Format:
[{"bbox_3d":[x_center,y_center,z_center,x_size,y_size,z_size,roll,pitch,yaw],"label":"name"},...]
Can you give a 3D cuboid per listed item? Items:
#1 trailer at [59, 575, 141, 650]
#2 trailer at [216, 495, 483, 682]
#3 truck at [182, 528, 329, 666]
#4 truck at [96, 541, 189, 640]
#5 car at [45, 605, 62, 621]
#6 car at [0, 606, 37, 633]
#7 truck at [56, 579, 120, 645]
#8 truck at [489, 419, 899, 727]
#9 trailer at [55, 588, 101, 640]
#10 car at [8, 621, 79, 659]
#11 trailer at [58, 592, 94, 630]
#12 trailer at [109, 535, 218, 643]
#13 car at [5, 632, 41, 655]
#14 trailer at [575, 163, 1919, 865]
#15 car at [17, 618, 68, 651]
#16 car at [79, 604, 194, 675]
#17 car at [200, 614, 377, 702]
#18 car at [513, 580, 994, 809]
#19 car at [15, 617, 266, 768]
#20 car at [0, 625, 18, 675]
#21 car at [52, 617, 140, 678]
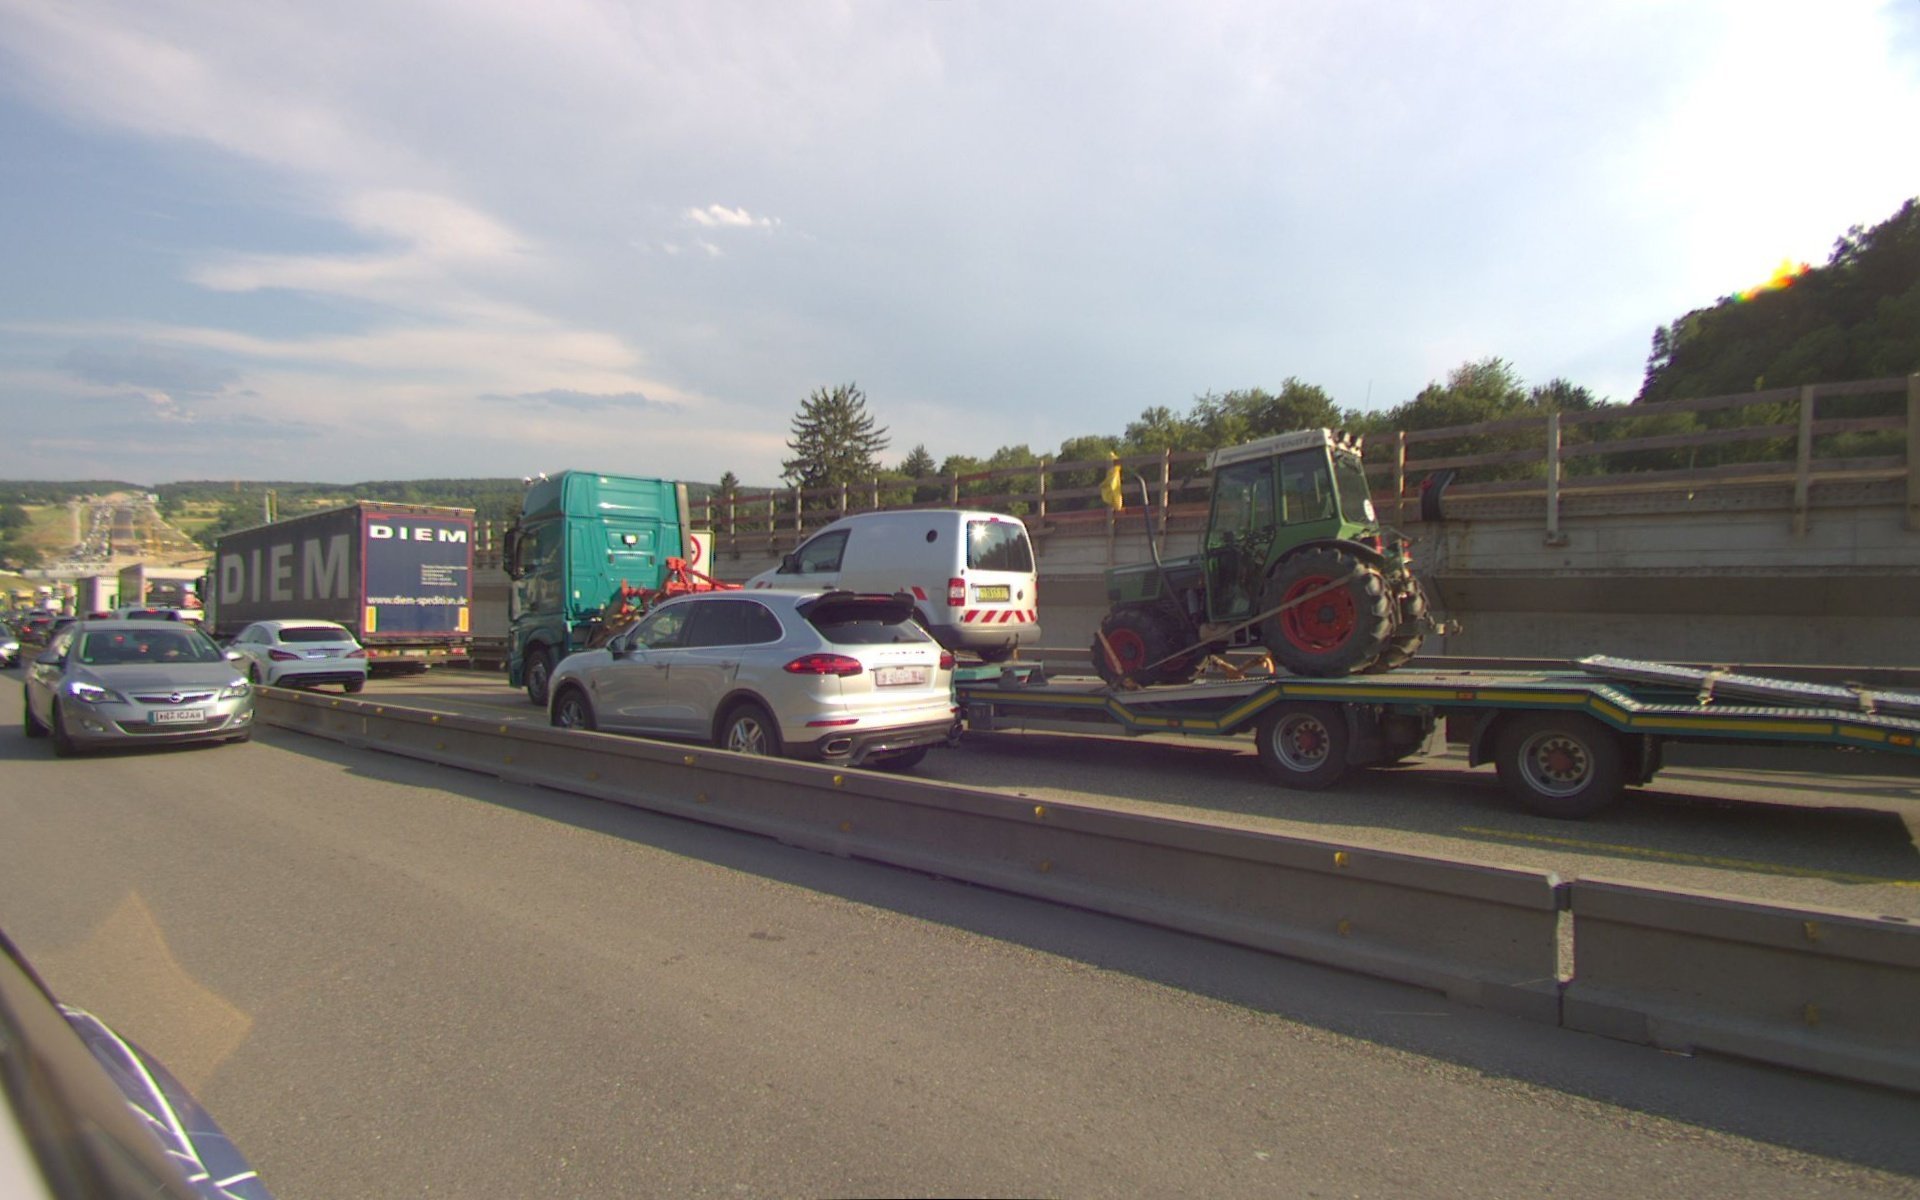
[{"bbox_3d":[-53.947,0.767,63.306,13.840,4.235,2.744,0,-1,45],"label":"trailer"},{"bbox_3d":[-17.102,-0.130,27.680,12.489,4.154,2.686,-1,-3,42],"label":"trailer"},{"bbox_3d":[-23.039,-0.024,33.027,5.028,4.146,2.720,-1,-3,41],"label":"truck"},{"bbox_3d":[-39.948,-0.420,49.422,5.028,4.548,2.887,-1,-1,44],"label":"truck"},{"bbox_3d":[-148.695,2.128,165.978,1.972,2.636,5.620,2,-2,-42],"label":"car"},{"bbox_3d":[-60.226,1.208,64.573,4.481,1.562,1.747,1,1,44],"label":"car"},{"bbox_3d":[-58.505,0.797,67.856,6.118,4.235,2.733,0,-1,45],"label":"truck"},{"bbox_3d":[-4.459,-0.258,15.973,7.109,3.834,2.720,-1,-3,41],"label":"truck"},{"bbox_3d":[-79.753,1.220,91.371,2.427,4.353,13.786,1,-1,-44],"label":"trailer"},{"bbox_3d":[-41.645,1.793,45.931,5.368,1.618,1.856,-1,-3,43],"label":"car"},{"bbox_3d":[-98.427,1.224,112.656,2.782,4.136,8.296,1,-1,-43],"label":"trailer"},{"bbox_3d":[-35.910,-0.429,45.551,7.154,4.499,2.879,-1,-1,44],"label":"trailer"},{"bbox_3d":[-70.471,3.219,76.120,4.817,1.467,1.754,1,1,44],"label":"car"},{"bbox_3d":[1.106,-0.357,11.019,16.040,3.845,2.720,-1,-3,42],"label":"trailer"},{"bbox_3d":[-51.856,1.933,57.167,4.748,1.598,1.842,1,3,44],"label":"car"},{"bbox_3d":[-24.741,1.131,30.321,5.129,1.948,1.804,0,-4,42],"label":"car"},{"bbox_3d":[-13.328,1.071,19.951,4.816,1.533,1.783,-1,-3,43],"label":"car"},{"bbox_3d":[-2.167,0.710,9.673,4.845,1.657,1.939,0,-1,40],"label":"car"},{"bbox_3d":[-9.908,0.963,12.126,4.118,1.498,1.786,-1,-2,43],"label":"car"},{"bbox_3d":[-29.843,1.500,30.528,4.000,1.452,1.799,-2,0,43],"label":"car"},{"bbox_3d":[-31.114,1.627,36.409,4.899,1.978,1.813,0,-1,43],"label":"car"}]
